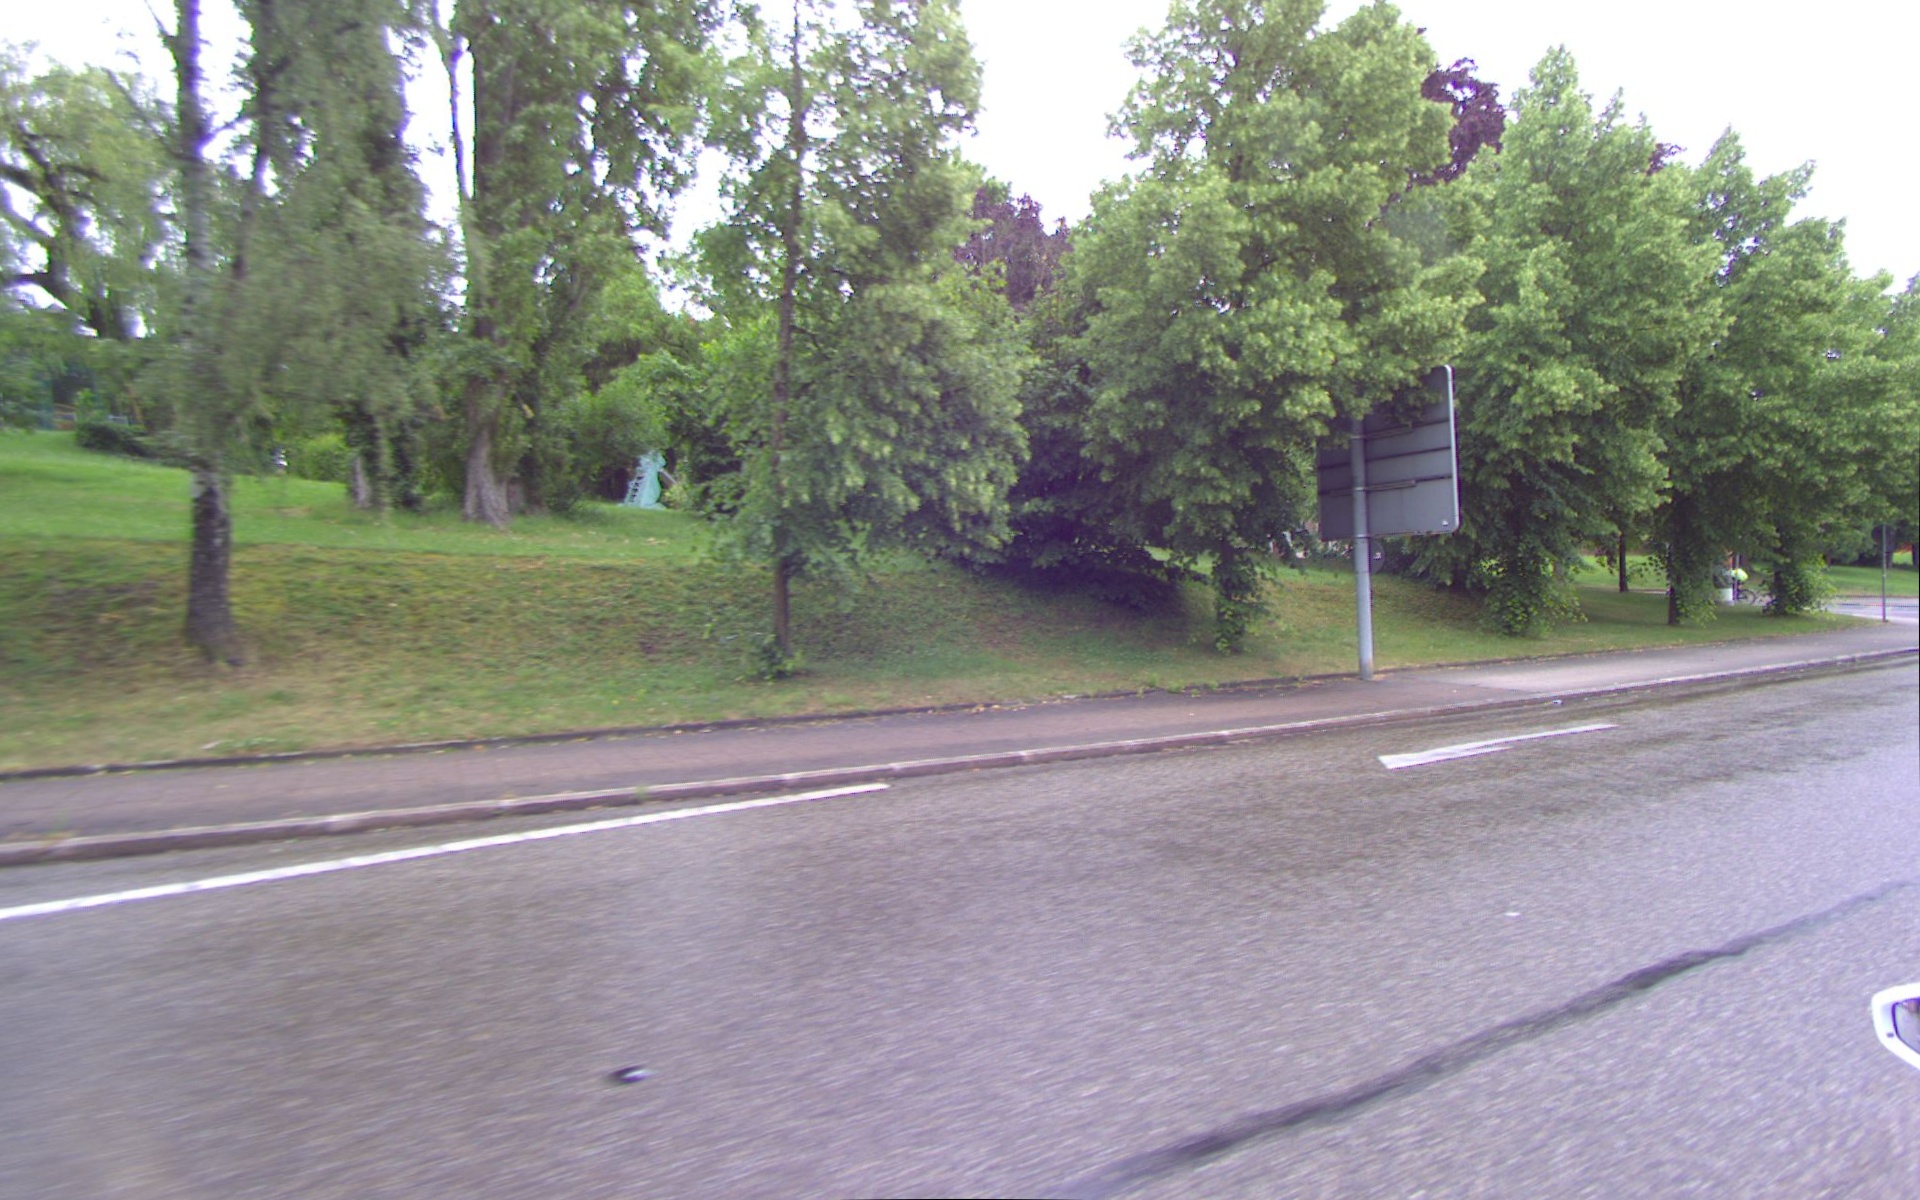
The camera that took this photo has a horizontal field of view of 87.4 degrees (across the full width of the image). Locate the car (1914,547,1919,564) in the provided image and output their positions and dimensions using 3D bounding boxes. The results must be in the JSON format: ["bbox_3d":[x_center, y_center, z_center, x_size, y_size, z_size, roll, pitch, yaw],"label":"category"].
[{"bbox_3d":[91.029,-4.139,93.000,3.852,1.506,1.925,1,1,41],"label":"car"}]

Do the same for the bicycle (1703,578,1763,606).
[{"bbox_3d":[33.327,-0.337,43.336,0.839,1.171,2.035,0,0,-8],"label":"bicycle"}]

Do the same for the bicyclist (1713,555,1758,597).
[{"bbox_3d":[33.348,-1.007,43.205,0.839,1.779,1.284,0,0,-8],"label":"bicyclist"}]

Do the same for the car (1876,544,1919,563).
[{"bbox_3d":[76.112,-3.731,80.558,3.852,1.506,1.925,1,1,41],"label":"car"}]

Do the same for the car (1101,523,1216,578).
[{"bbox_3d":[10.343,-2.567,52.403,5.560,2.736,2.156,1,3,22],"label":"car"}]
